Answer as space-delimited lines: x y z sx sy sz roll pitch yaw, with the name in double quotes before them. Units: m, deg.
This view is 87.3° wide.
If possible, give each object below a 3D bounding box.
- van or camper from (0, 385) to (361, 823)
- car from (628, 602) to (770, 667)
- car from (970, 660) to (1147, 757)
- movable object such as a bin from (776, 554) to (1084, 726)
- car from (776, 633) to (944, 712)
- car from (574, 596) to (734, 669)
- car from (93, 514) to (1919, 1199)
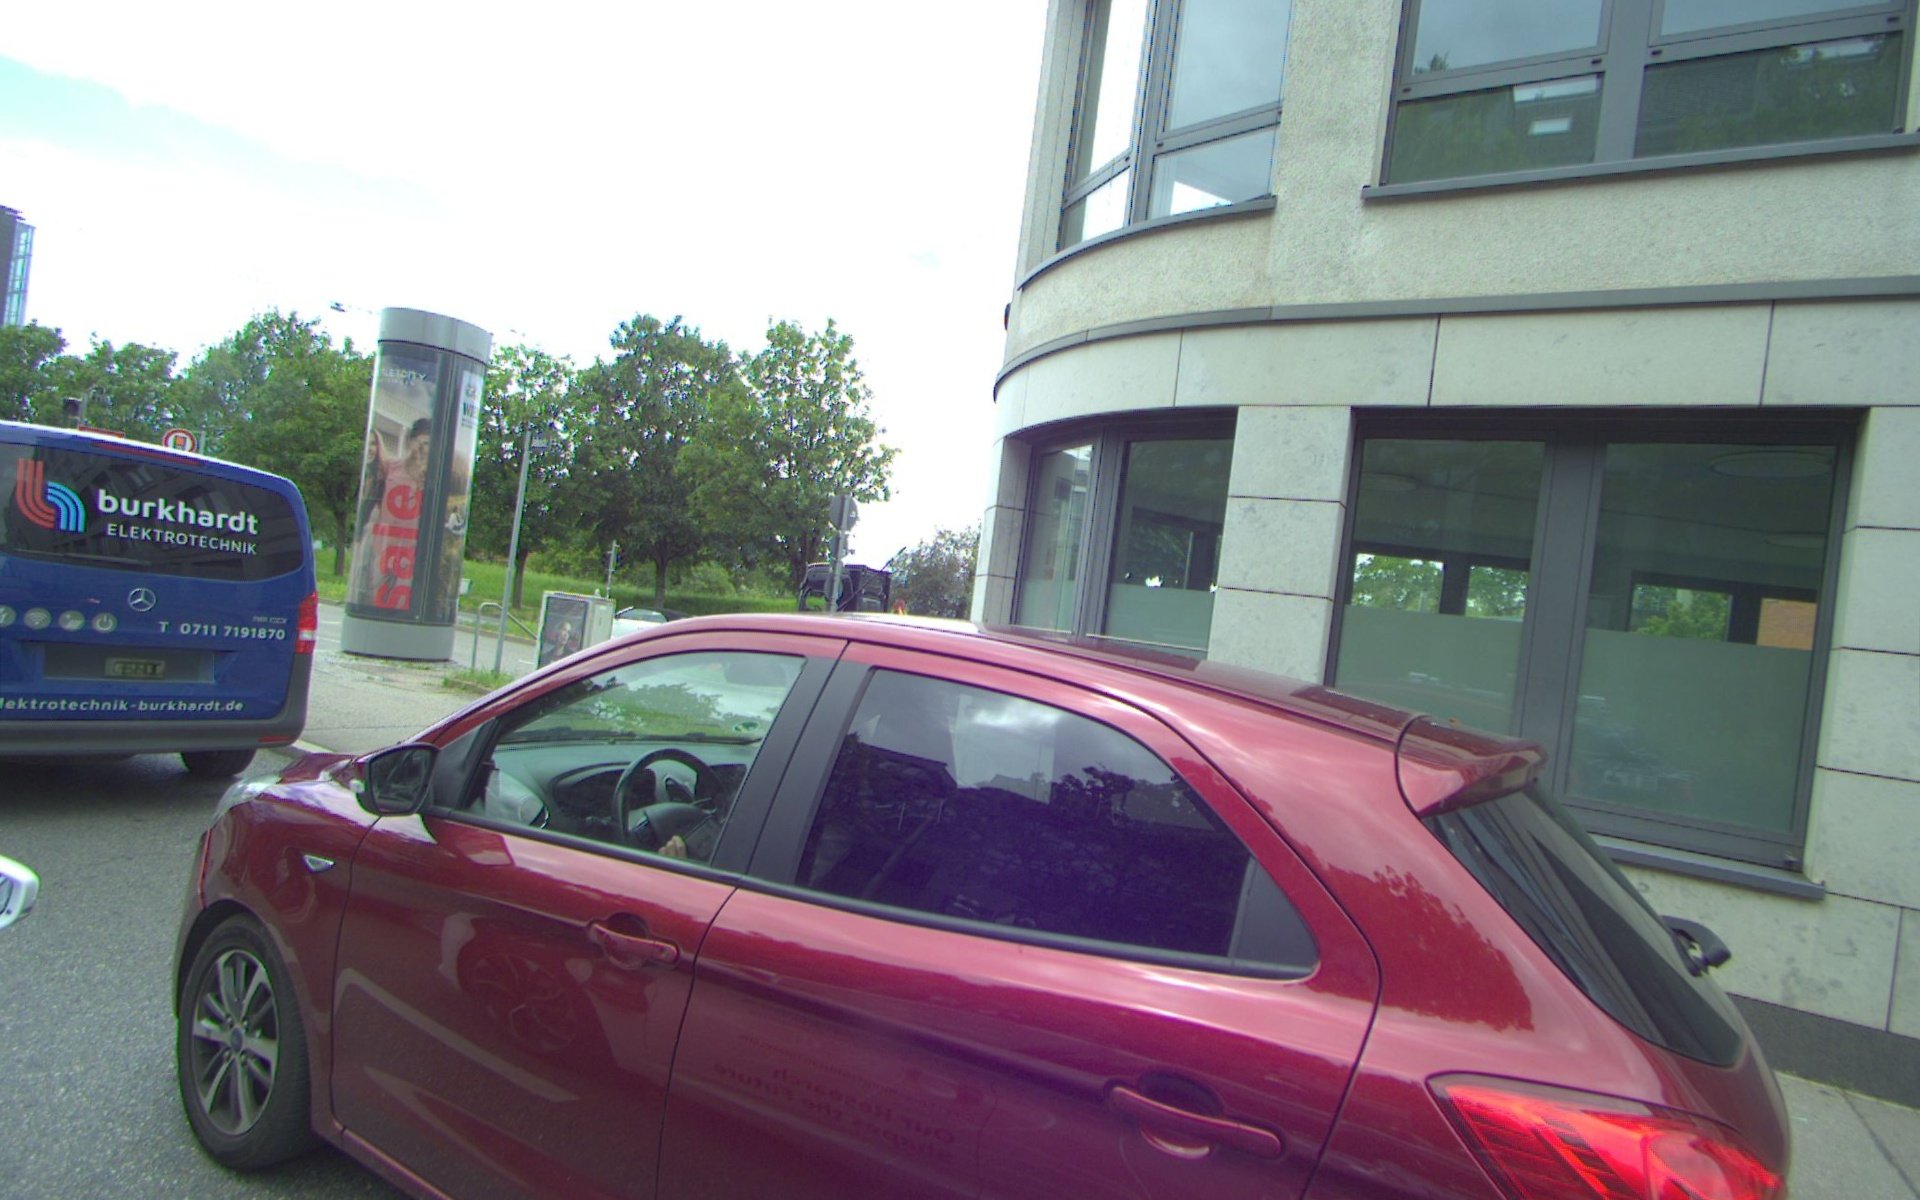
"van or camper" -6.058 -0.165 6.197 4.949 1.934 1.862 7 -1 32
"car" -8.608 1.163 33.295 3.925 1.469 2.003 8 -3 19
"car" 2.517 2.705 25.408 3.925 1.723 2.003 8 -3 19
"movable object such as a bin" -0.900 1.131 30.259 8.410 3.949 2.870 7 -1 18
"car" -2.700 1.988 27.427 3.925 1.469 2.003 8 -3 19
"car" -8.999 0.973 29.667 3.925 1.469 2.003 8 -3 19
"car" -0.096 0.836 2.508 3.933 1.509 1.890 7 -3 32
